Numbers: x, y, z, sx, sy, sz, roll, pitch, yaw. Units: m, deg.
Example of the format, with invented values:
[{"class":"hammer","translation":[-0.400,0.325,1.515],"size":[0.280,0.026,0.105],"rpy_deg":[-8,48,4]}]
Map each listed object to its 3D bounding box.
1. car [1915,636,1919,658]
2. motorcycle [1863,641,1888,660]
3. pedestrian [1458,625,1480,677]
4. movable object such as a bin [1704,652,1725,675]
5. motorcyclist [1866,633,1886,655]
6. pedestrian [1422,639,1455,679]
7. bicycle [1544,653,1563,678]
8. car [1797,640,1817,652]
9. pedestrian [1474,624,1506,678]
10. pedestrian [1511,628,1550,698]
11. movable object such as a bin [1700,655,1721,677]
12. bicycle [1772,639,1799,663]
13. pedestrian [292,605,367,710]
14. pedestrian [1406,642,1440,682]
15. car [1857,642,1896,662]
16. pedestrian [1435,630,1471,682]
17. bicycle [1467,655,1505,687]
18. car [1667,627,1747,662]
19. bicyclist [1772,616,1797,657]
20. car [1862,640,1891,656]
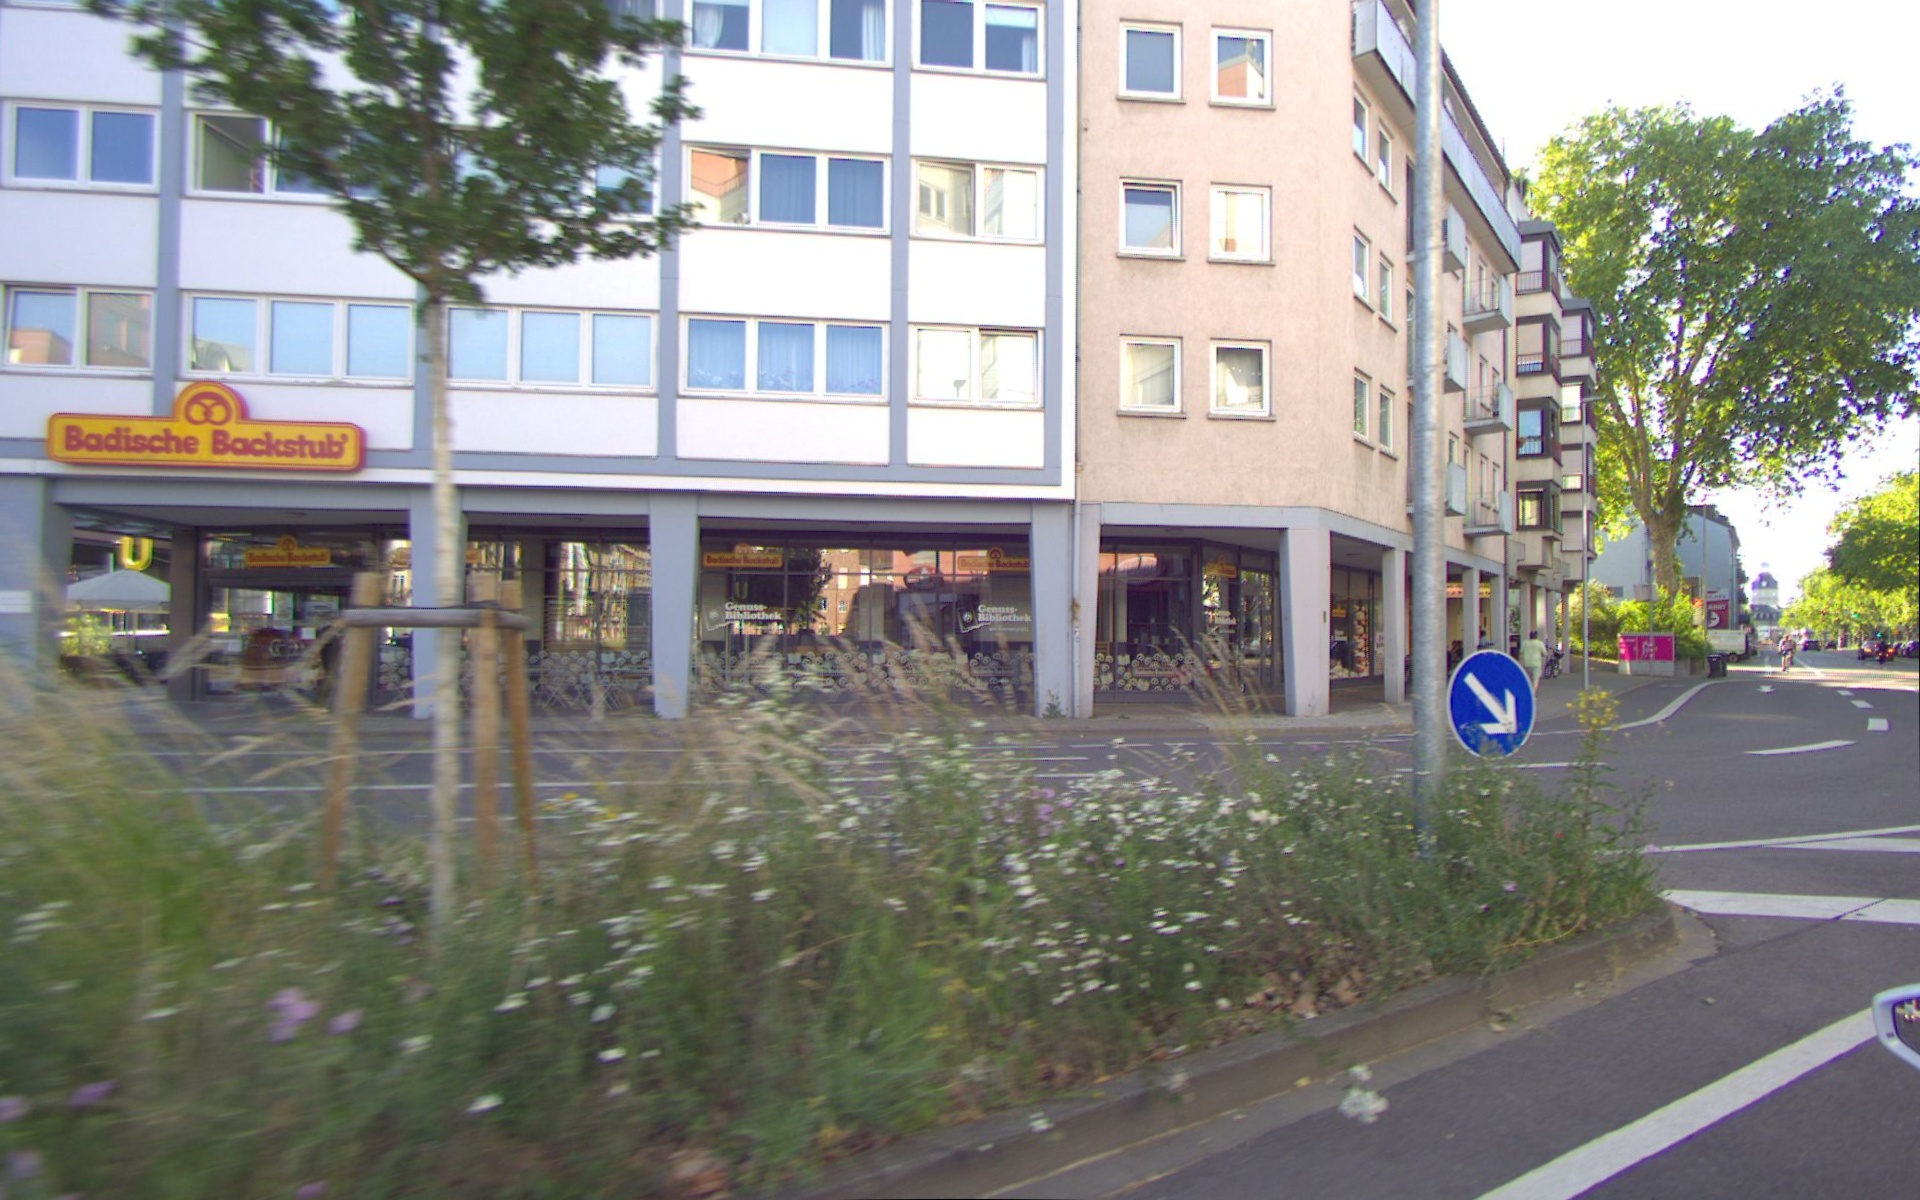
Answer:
[{"class":"car","translation":[79.915,3.866,82.323],"size":[2.008,1.765,4.077],"rpy_deg":[-1,-2,38]},{"class":"motorcycle","translation":[59.077,3.254,64.839],"size":[0.961,1.147,2.793],"rpy_deg":[0,-1,38]},{"class":"pedestrian","translation":[18.303,1.833,36.095],"size":[0.605,1.819,0.653],"rpy_deg":[0,-2,36]},{"class":"movable object such as a bin","translation":[32.953,2.772,43.890],"size":[0.694,0.978,0.594],"rpy_deg":[1,0,39]},{"class":"motorcyclist","translation":[59.061,2.825,64.768],"size":[0.960,1.365,1.131],"rpy_deg":[0,-1,43]},{"class":"pedestrian","translation":[15.956,1.957,33.472],"size":[0.822,1.282,0.850],"rpy_deg":[0,-2,40]},{"class":"bicycle","translation":[21.999,2.426,37.228],"size":[0.384,0.889,1.606],"rpy_deg":[2,0,37]},{"class":"car","translation":[121.464,6.617,144.073],"size":[2.008,1.765,4.077],"rpy_deg":[-2,-3,38]},{"class":"pedestrian","translation":[17.527,1.674,33.188],"size":[0.840,1.747,0.832],"rpy_deg":[0,-2,36]},{"class":"pedestrian","translation":[14.641,1.607,25.786],"size":[0.794,1.747,0.774],"rpy_deg":[0,-2,36]},{"class":"movable object such as a bin","translation":[31.803,2.799,42.553],"size":[0.677,0.863,0.577],"rpy_deg":[1,0,39]},{"class":"bicycle","translation":[40.342,2.493,49.123],"size":[0.804,1.154,2.332],"rpy_deg":[-1,-3,34]},{"class":"pedestrian","translation":[-10.817,0.983,17.267],"size":[0.761,1.747,0.807],"rpy_deg":[1,-2,-6]},{"class":"pedestrian","translation":[15.119,2.019,32.796],"size":[0.822,1.282,0.850],"rpy_deg":[0,-2,40]},{"class":"car","translation":[69.048,3.916,75.745],"size":[1.900,1.407,3.983],"rpy_deg":[-1,-2,39]},{"class":"pedestrian","translation":[16.716,1.888,34.076],"size":[0.847,1.747,0.826],"rpy_deg":[2,-2,-38]},{"class":"bicycle","translation":[15.850,2.121,30.252],"size":[0.626,0.896,1.608],"rpy_deg":[-2,-3,42]},{"class":"car","translation":[50.565,3.005,68.081],"size":[4.248,2.255,1.993],"rpy_deg":[-1,-3,37]},{"class":"bicyclist","translation":[40.399,1.799,49.222],"size":[0.804,1.973,0.855],"rpy_deg":[-1,-2,35]},{"class":"car","translation":[100.142,5.258,109.839],"size":[2.008,1.765,4.077],"rpy_deg":[-2,-3,38]}]
